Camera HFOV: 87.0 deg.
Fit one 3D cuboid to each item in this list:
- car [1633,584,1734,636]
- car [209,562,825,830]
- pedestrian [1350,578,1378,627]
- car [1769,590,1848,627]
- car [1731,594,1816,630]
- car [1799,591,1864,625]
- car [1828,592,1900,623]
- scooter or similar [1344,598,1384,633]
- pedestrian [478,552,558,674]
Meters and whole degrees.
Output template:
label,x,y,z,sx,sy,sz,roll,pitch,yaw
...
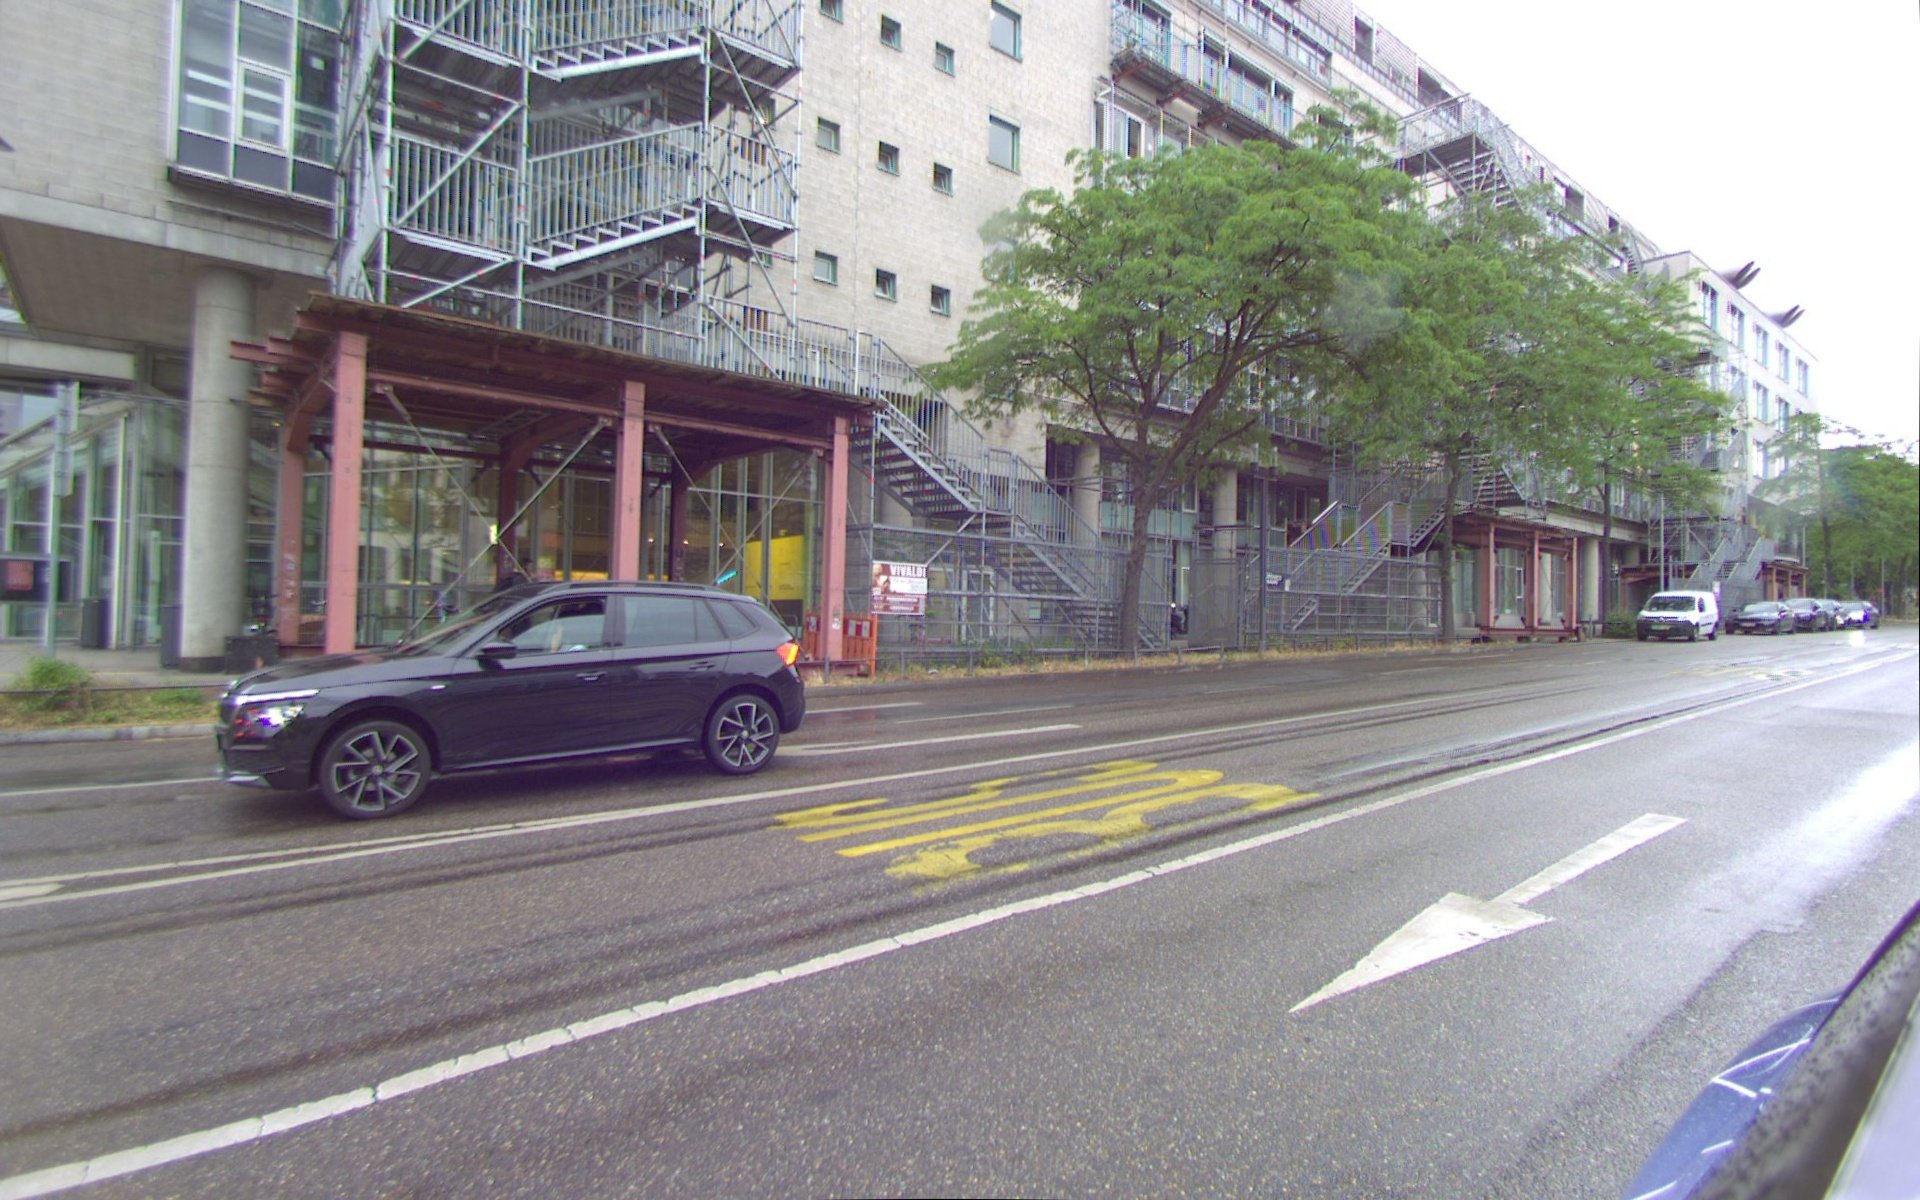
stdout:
label,x,y,z,sx,sy,sz,roll,pitch,yaw
car,26.228,0.321,36.624,4.447,1.772,1.997,0,0,-41
car,-3.265,0.548,7.856,4.071,1.559,1.782,0,0,-39
pedestrian,14.689,0.070,36.797,0.641,1.764,0.678,0,0,-38
car,40.365,0.365,48.117,4.774,1.667,1.998,0,0,-39
car,35.261,0.510,43.813,4.831,1.455,1.873,0,0,-39
car,44.395,0.390,51.529,4.512,1.621,1.865,0,0,-41
car,49.117,0.407,54.957,5.191,1.621,1.999,0,0,-38
scooter or similar,13.809,0.525,34.553,1.520,1.176,0.632,0,0,-41
pedestrian,-7.092,0.192,16.231,1.037,1.875,0.681,0,0,-38
